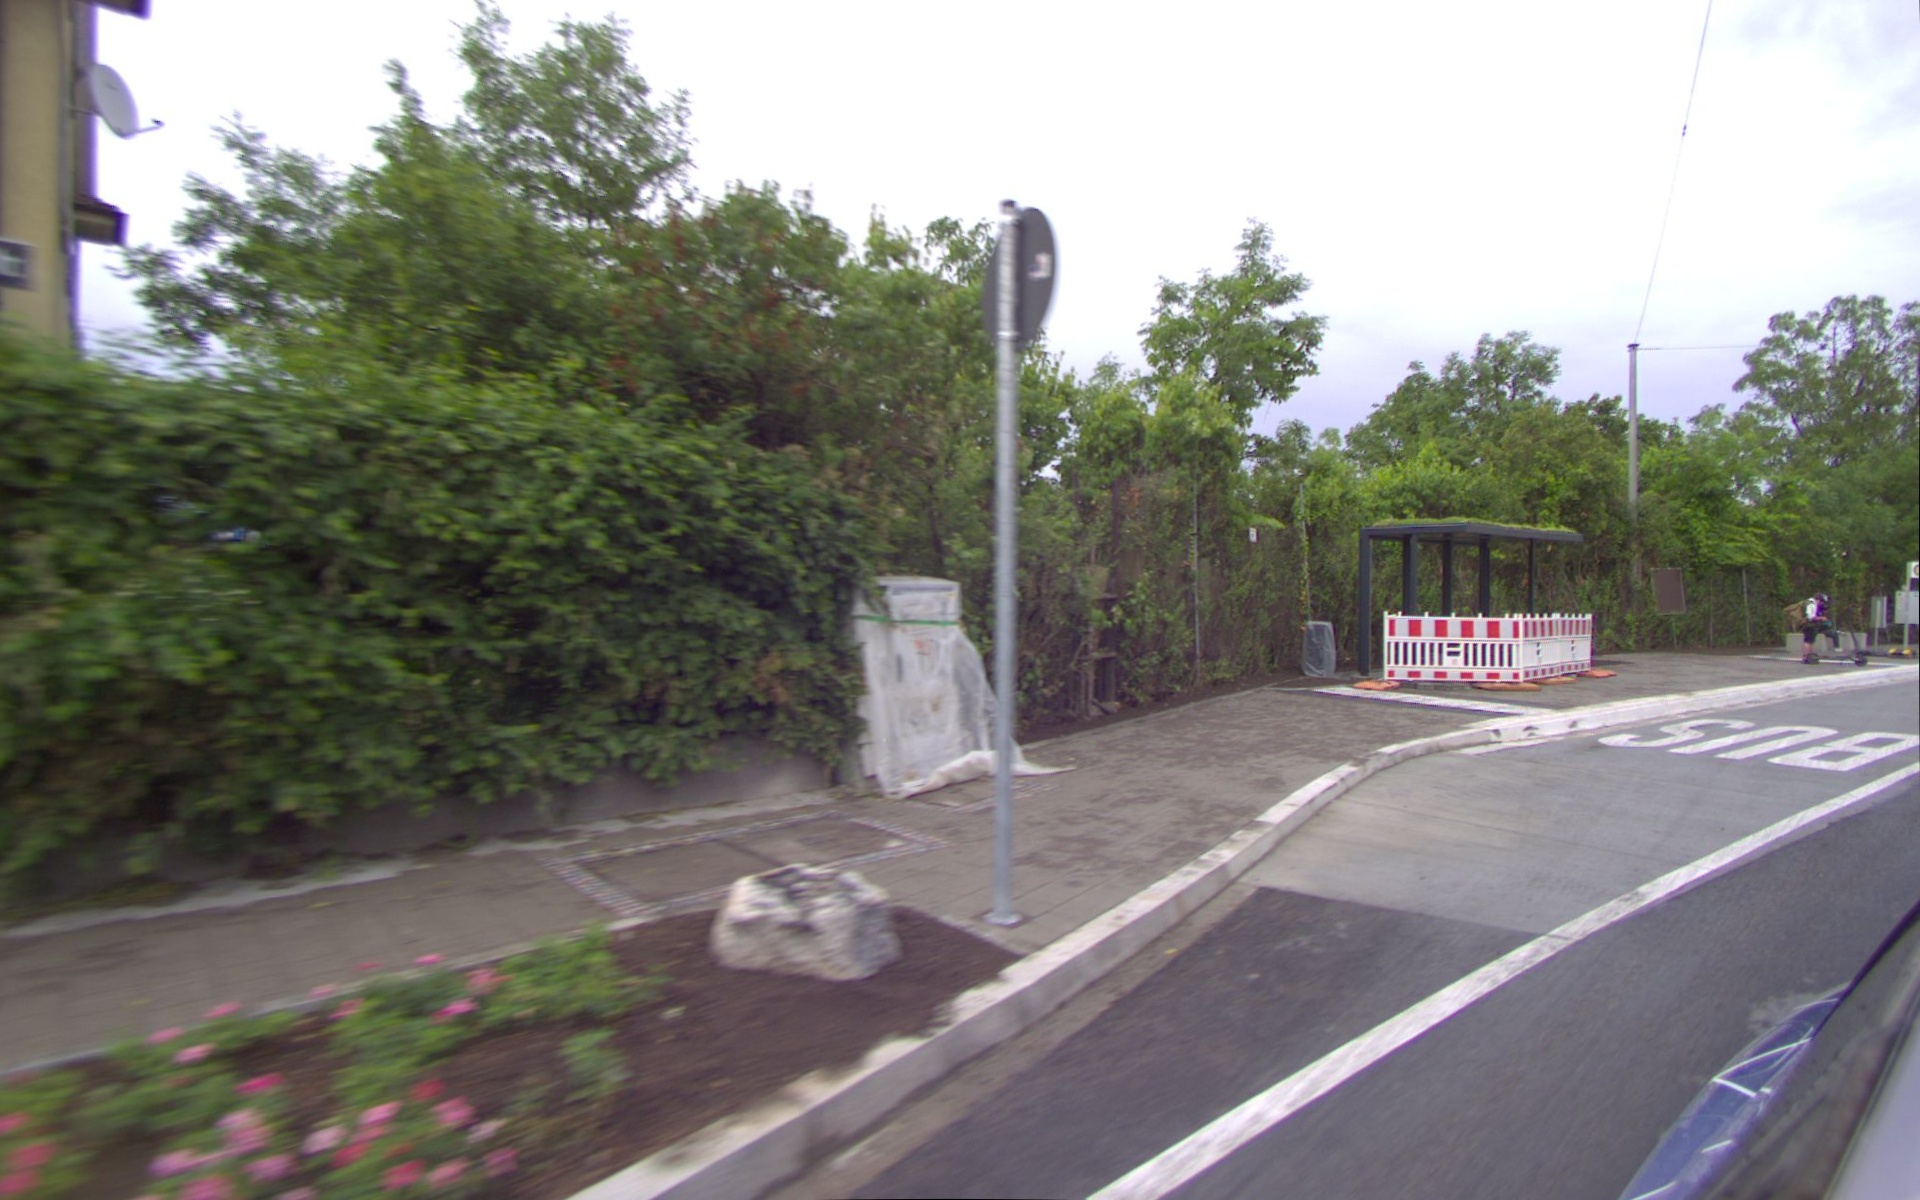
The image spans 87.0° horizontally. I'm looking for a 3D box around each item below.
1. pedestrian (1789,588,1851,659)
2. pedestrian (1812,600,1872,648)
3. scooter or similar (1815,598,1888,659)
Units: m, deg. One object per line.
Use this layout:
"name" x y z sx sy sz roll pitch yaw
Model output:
"pedestrian" 19.455 0.518 22.914 0.908 1.566 0.542 0 0 18
"pedestrian" 25.683 0.687 29.485 1.054 1.346 0.805 0 0 18
"scooter or similar" 19.845 0.627 22.534 1.225 1.332 0.231 0 0 15
